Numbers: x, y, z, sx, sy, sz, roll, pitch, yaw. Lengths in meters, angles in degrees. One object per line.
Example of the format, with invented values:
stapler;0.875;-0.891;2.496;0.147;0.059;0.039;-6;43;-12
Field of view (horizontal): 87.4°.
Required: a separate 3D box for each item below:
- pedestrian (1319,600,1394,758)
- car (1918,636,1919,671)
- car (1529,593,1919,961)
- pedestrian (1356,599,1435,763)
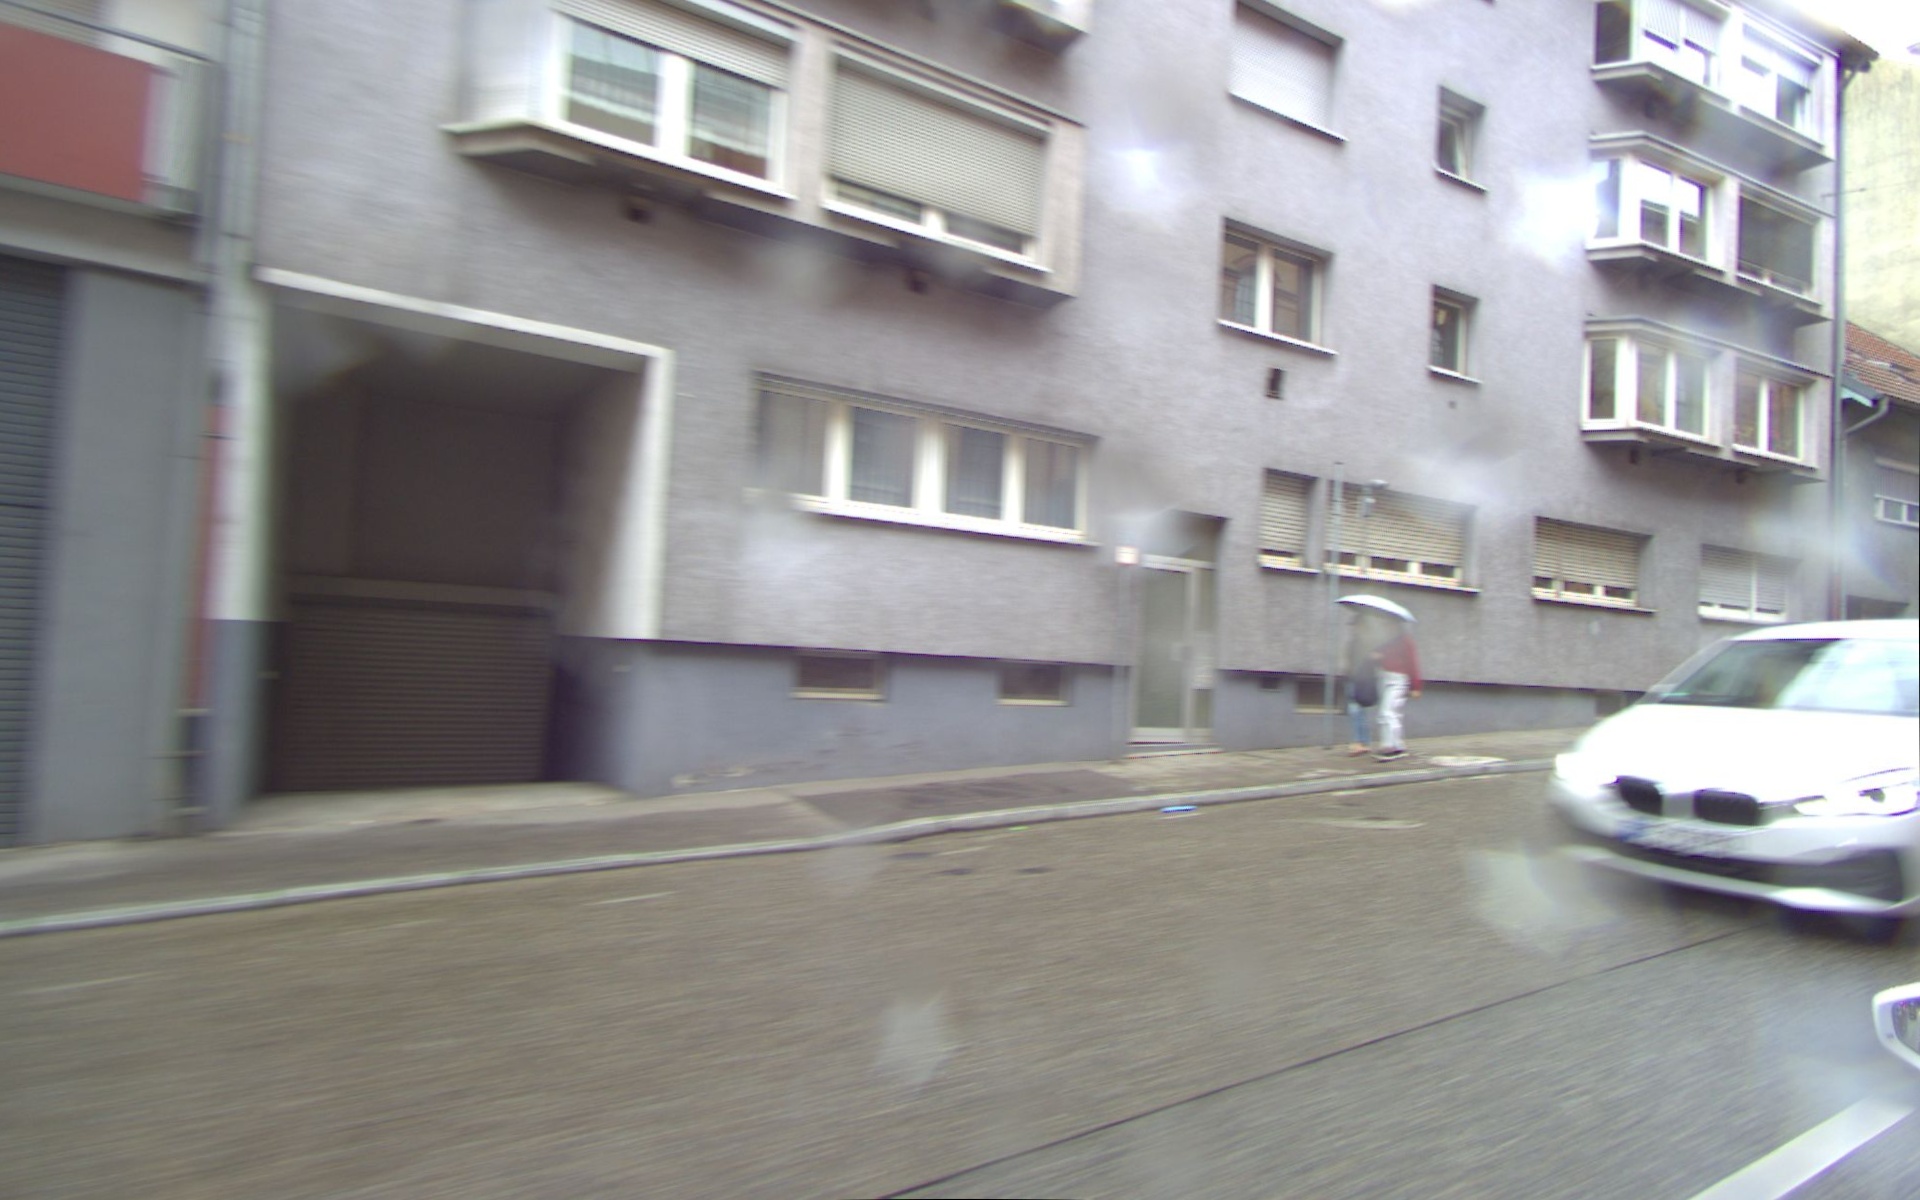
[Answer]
pedestrian;4.676;0.914;11.861;0.615;1.799;0.521;0;-2;-29
car;15.679;1.238;14.439;3.331;1.516;1.640;0;-4;-25
car;5.505;0.847;6.109;3.987;1.597;1.757;2;-3;-29
pedestrian;4.928;0.897;11.376;0.615;1.799;0.521;0;-2;-29
